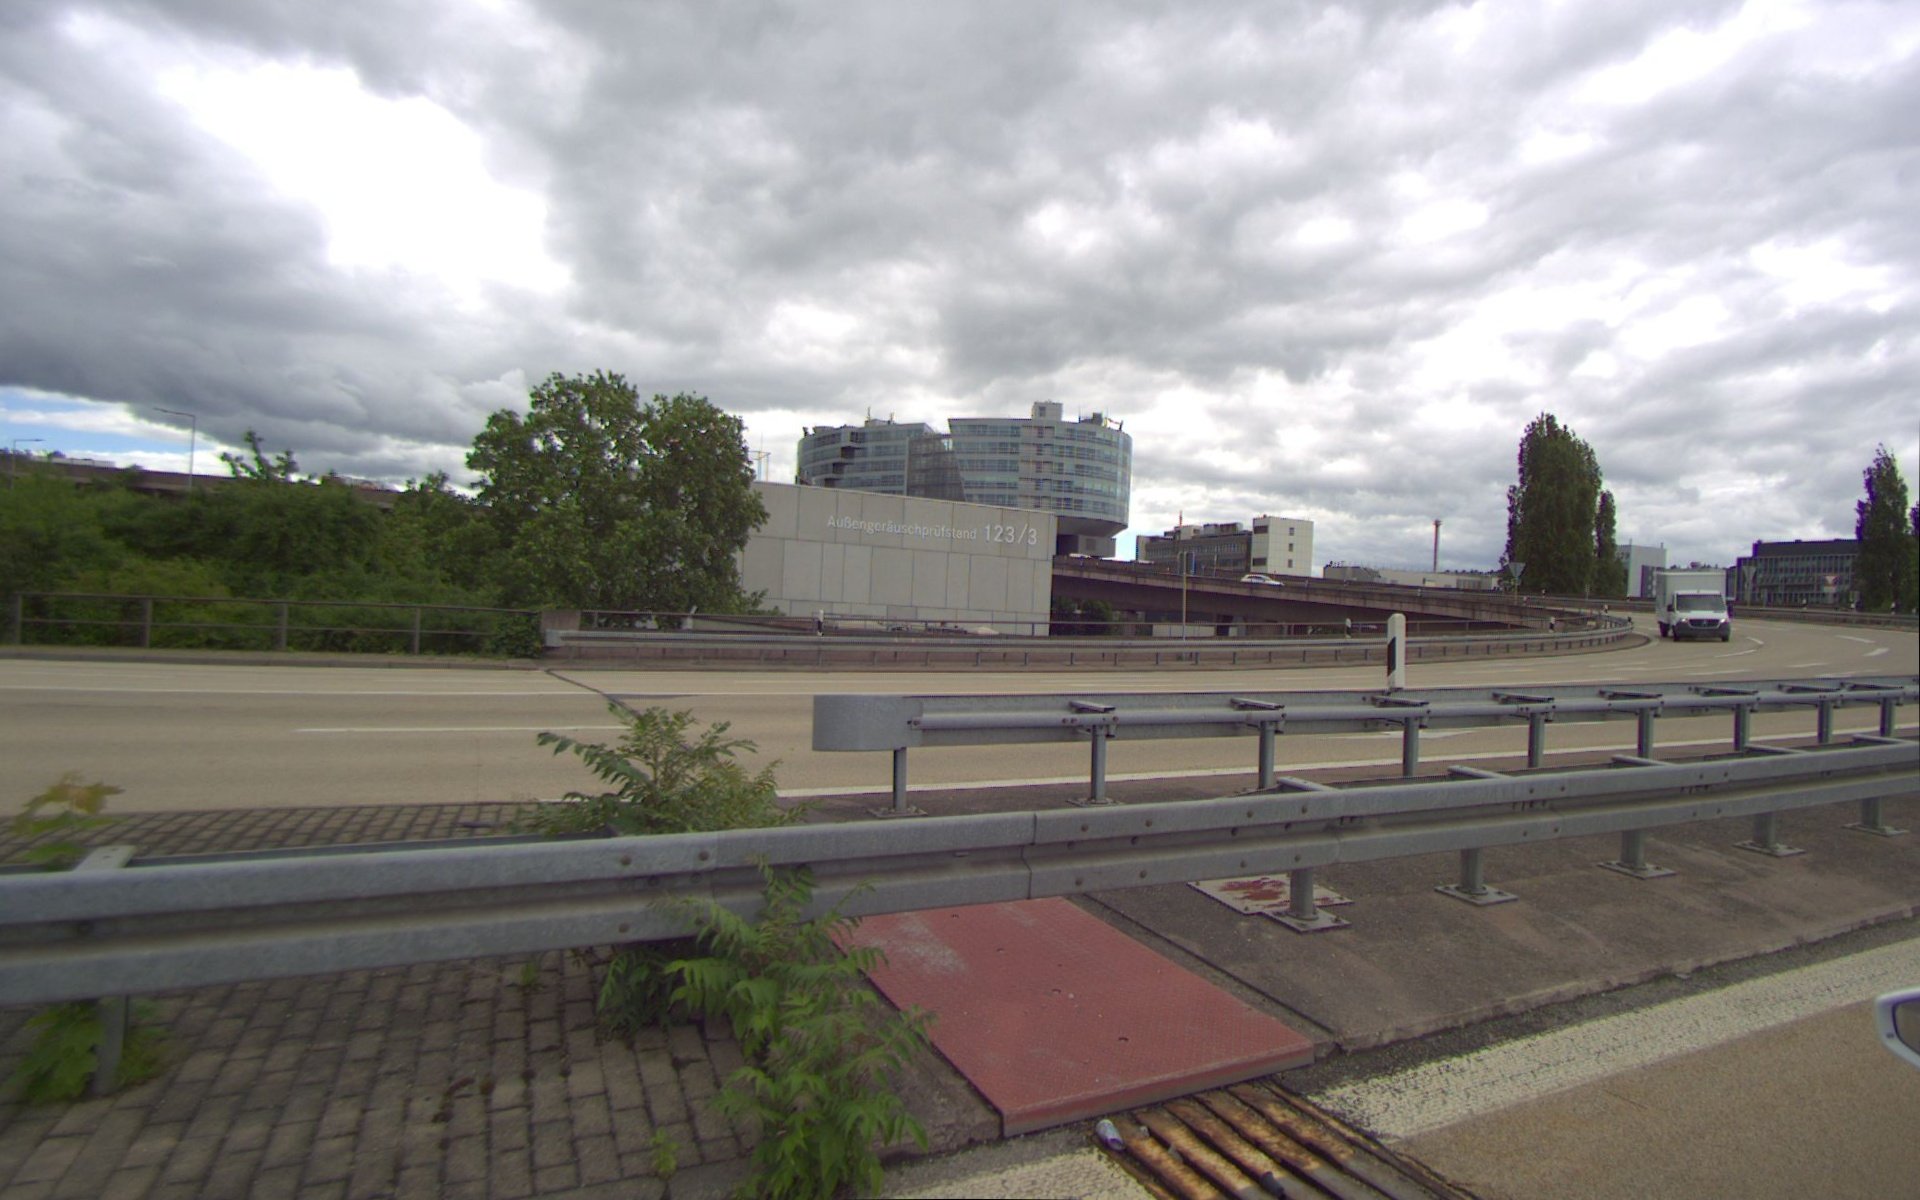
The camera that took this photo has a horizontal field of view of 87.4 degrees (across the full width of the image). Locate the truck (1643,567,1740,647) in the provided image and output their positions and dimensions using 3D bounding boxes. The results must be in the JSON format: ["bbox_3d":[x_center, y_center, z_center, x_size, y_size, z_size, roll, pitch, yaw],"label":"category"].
[{"bbox_3d":[33.501,0.228,46.236,2.309,3.307,6.986,3,2,26],"label":"truck"}]

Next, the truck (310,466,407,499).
[{"bbox_3d":[-77.760,-15.184,130.068,10.674,3.284,2.283,3,0,-5],"label":"truck"}]
